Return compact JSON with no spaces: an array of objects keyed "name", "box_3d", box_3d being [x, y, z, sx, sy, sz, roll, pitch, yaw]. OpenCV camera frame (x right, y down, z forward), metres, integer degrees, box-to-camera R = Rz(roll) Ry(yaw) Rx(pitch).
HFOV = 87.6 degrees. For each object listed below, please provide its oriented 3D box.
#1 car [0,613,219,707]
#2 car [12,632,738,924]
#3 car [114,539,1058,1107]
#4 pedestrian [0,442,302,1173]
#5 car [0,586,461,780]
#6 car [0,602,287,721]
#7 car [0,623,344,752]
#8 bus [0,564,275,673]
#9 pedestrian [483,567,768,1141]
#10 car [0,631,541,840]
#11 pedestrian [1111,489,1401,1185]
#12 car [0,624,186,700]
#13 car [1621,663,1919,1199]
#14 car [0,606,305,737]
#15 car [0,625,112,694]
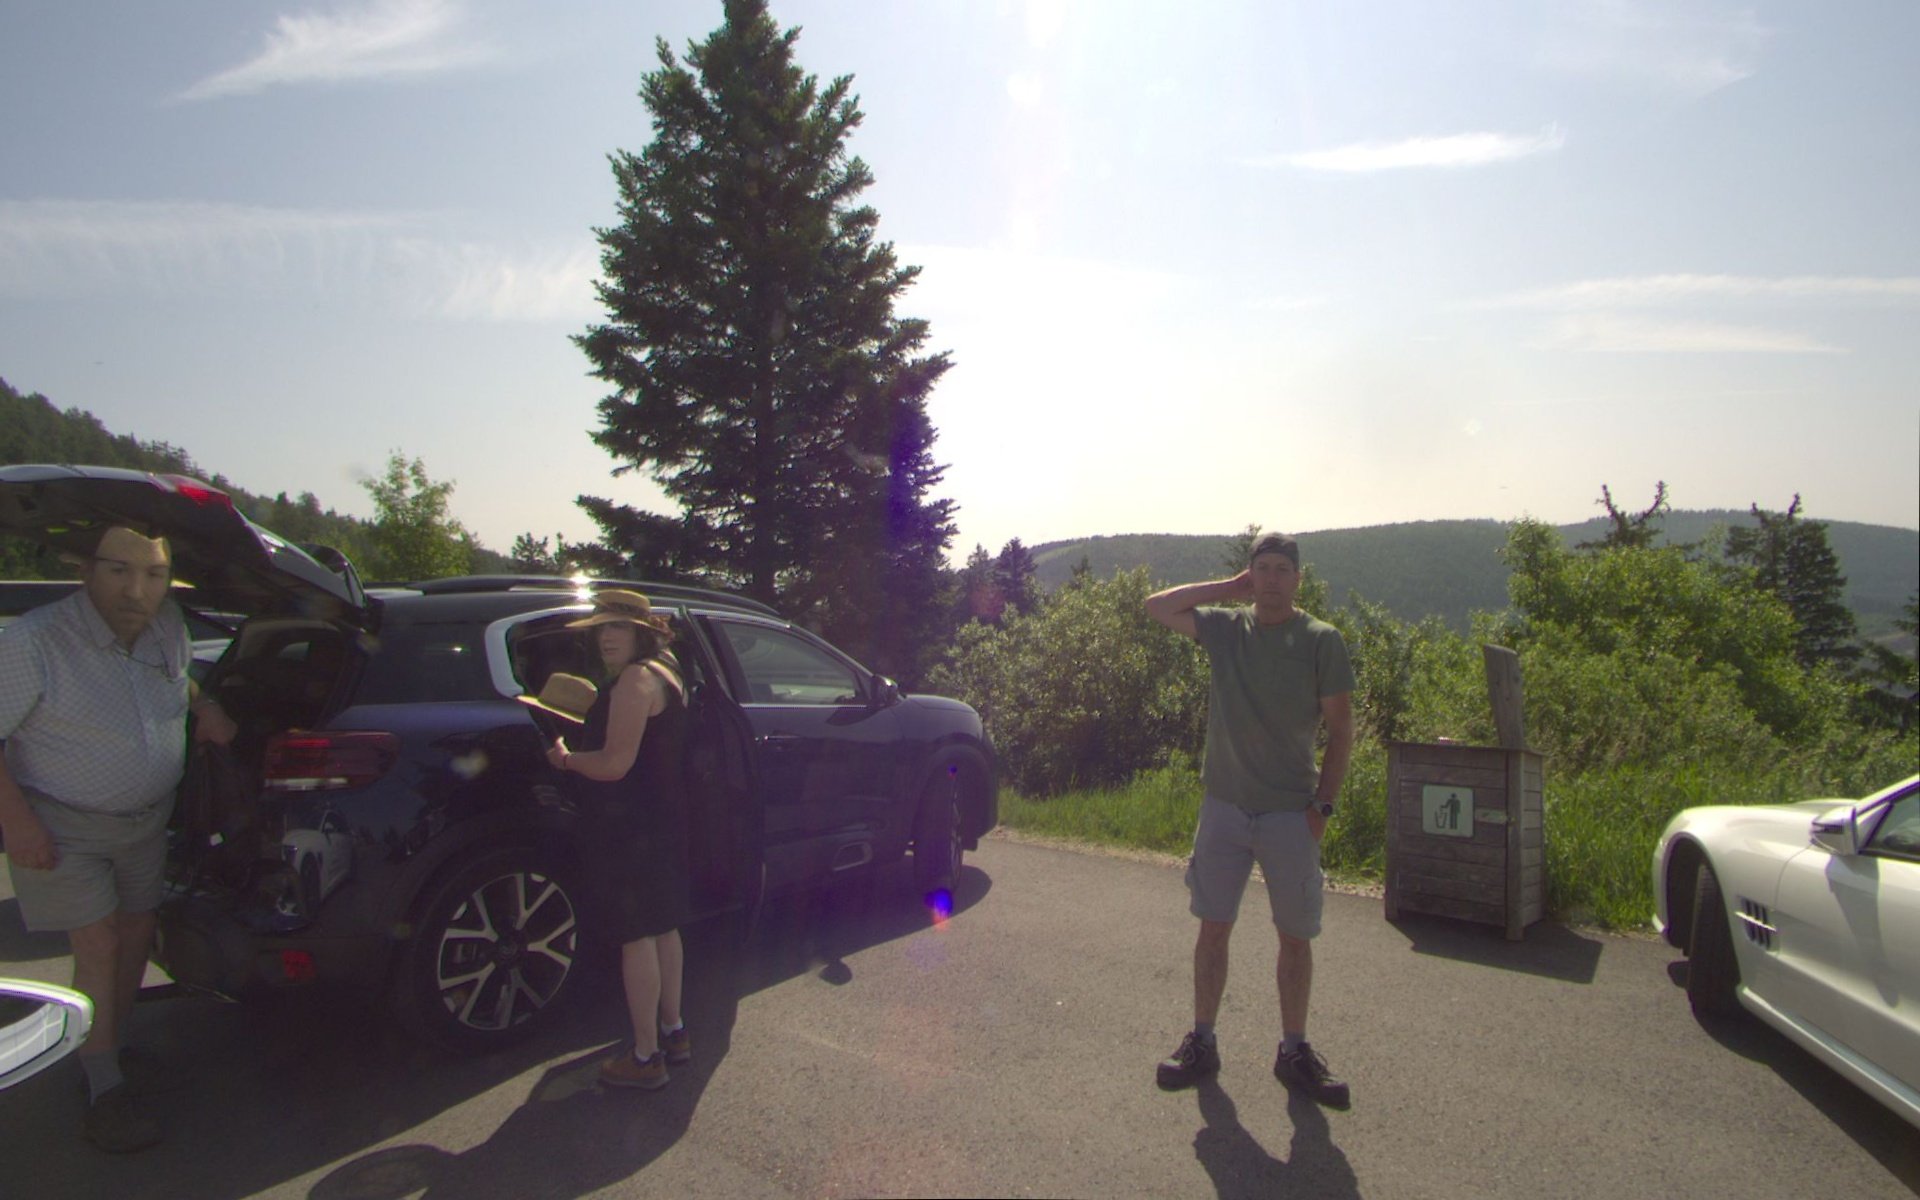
[{"name":"car","box_3d":[-16.737,1.095,19.051,1.641,1.574,3.966,-1,0,41]},{"name":"car","box_3d":[-3.614,0.933,6.985,1.678,1.394,4.075,-1,-2,32]},{"name":"car","box_3d":[-1.370,0.781,5.233,1.846,1.646,4.333,-2,-4,36]},{"name":"pedestrian","box_3d":[-2.536,0.541,2.961,0.723,1.896,0.757,1,1,-11]},{"name":"car","box_3d":[-8.248,0.744,10.631,1.924,1.718,4.920,-1,0,43]},{"name":"car","box_3d":[-14.137,0.943,16.213,2.025,1.673,5.007,-1,0,41]},{"name":"car","box_3d":[-10.301,1.004,12.385,1.817,1.286,4.222,-1,0,41]},{"name":"bus","box_3d":[-31.784,0.633,34.732,12.980,3.580,3.019,-2,1,-39]},{"name":"pedestrian","box_3d":[-1.086,0.740,3.309,0.529,1.633,0.712,-2,-2,33]},{"name":"car","box_3d":[-6.011,0.985,8.780,1.680,1.394,4.071,-1,-2,35]},{"name":"pedestrian","box_3d":[0.947,0.639,3.125,0.736,1.823,0.734,-1,-1,25]},{"name":"car","box_3d":[-19.163,1.295,21.349,1.602,1.417,3.966,-1,0,41]},{"name":"car","box_3d":[3.307,0.867,2.453,1.724,1.312,4.407,0,-2,18]},{"name":"car","box_3d":[-12.020,0.935,14.197,1.817,1.574,4.222,-1,0,41]},{"name":"car","box_3d":[-22.150,1.384,22.888,1.840,1.468,3.966,-1,0,41]}]
